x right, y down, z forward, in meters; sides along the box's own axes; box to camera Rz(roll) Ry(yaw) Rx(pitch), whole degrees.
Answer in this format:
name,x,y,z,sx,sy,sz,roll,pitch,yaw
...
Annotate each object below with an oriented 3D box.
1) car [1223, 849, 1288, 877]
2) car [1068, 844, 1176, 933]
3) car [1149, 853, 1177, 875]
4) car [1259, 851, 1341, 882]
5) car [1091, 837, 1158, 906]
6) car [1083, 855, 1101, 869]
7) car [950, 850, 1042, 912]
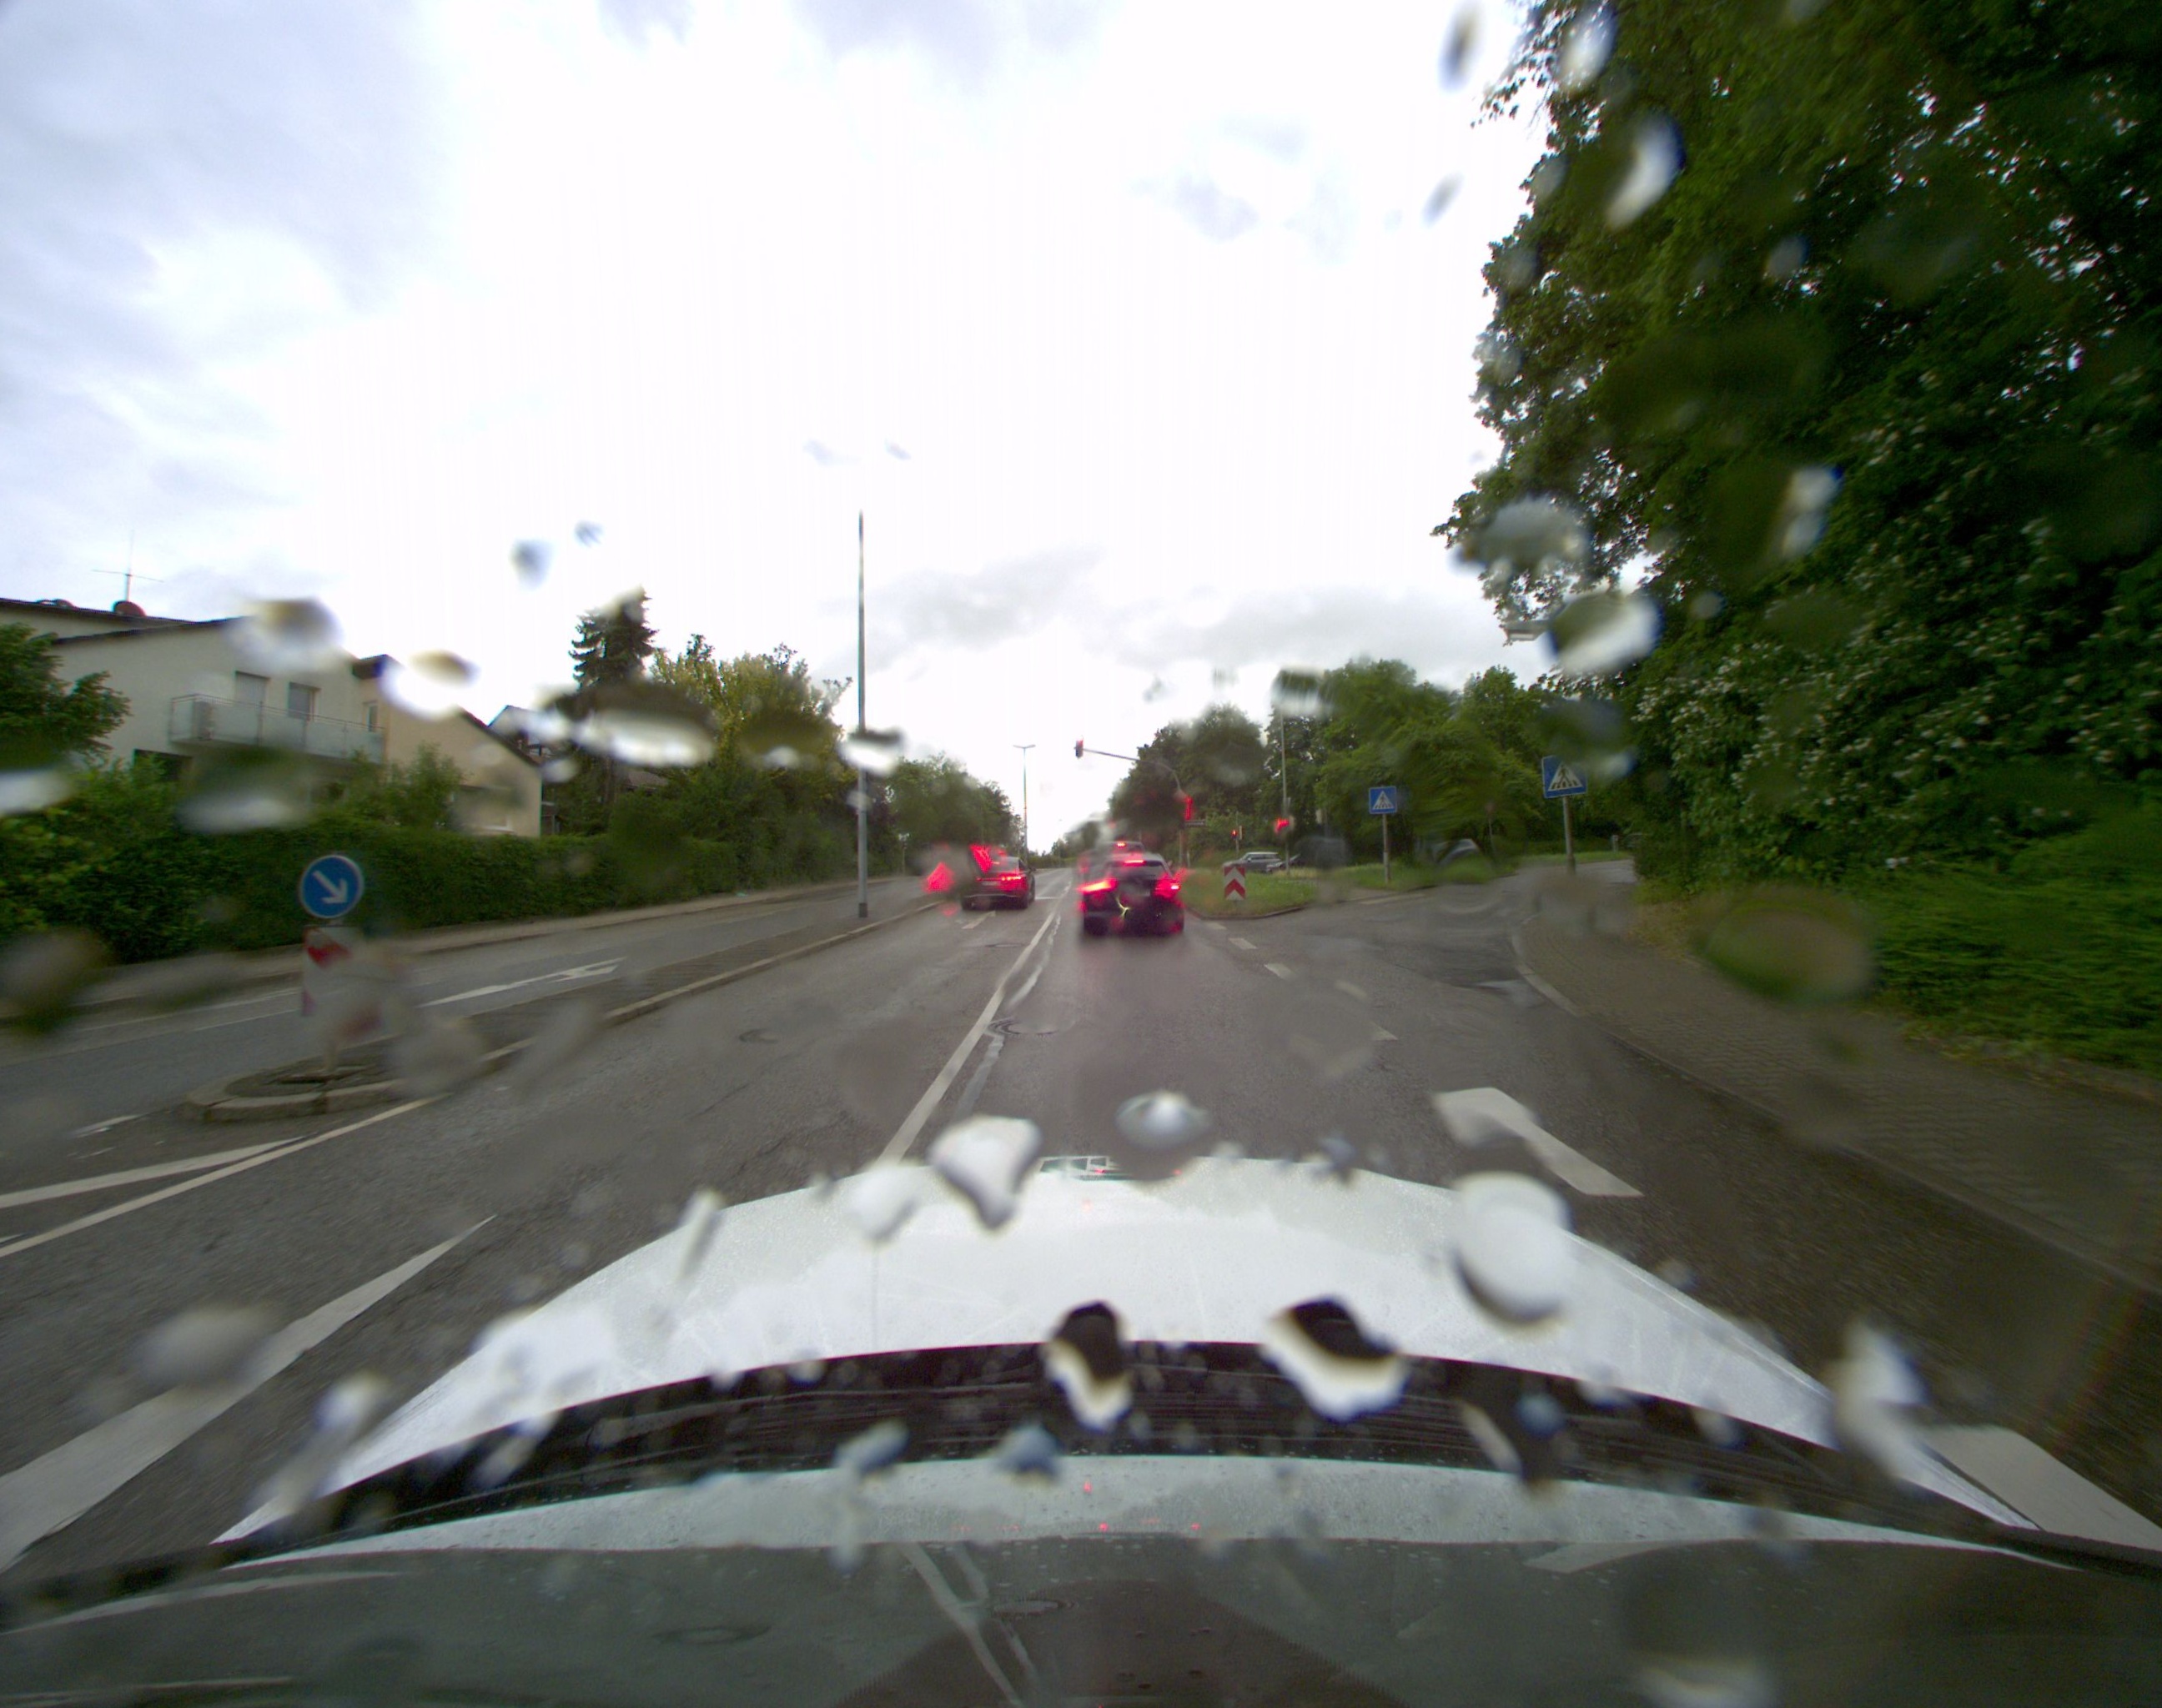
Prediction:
name,x,y,z,sx,sy,sz,roll,pitch,yaw
car,10.635,0.557,49.828,3.493,1.427,1.702,-4,-2,-2
car,0.917,0.636,16.539,1.889,1.551,4.621,0,-1,5
car,6.328,0.734,63.133,1.866,1.543,3.954,-3,0,2
car,12.292,0.688,45.870,3.981,1.509,1.898,-3,0,-5
car,1.264,0.483,24.156,1.811,1.868,3.954,-1,0,2
car,1.327,0.941,97.548,1.986,1.624,3.954,-3,0,2
car,-2.342,0.727,23.591,1.986,1.527,4.329,-3,0,2
